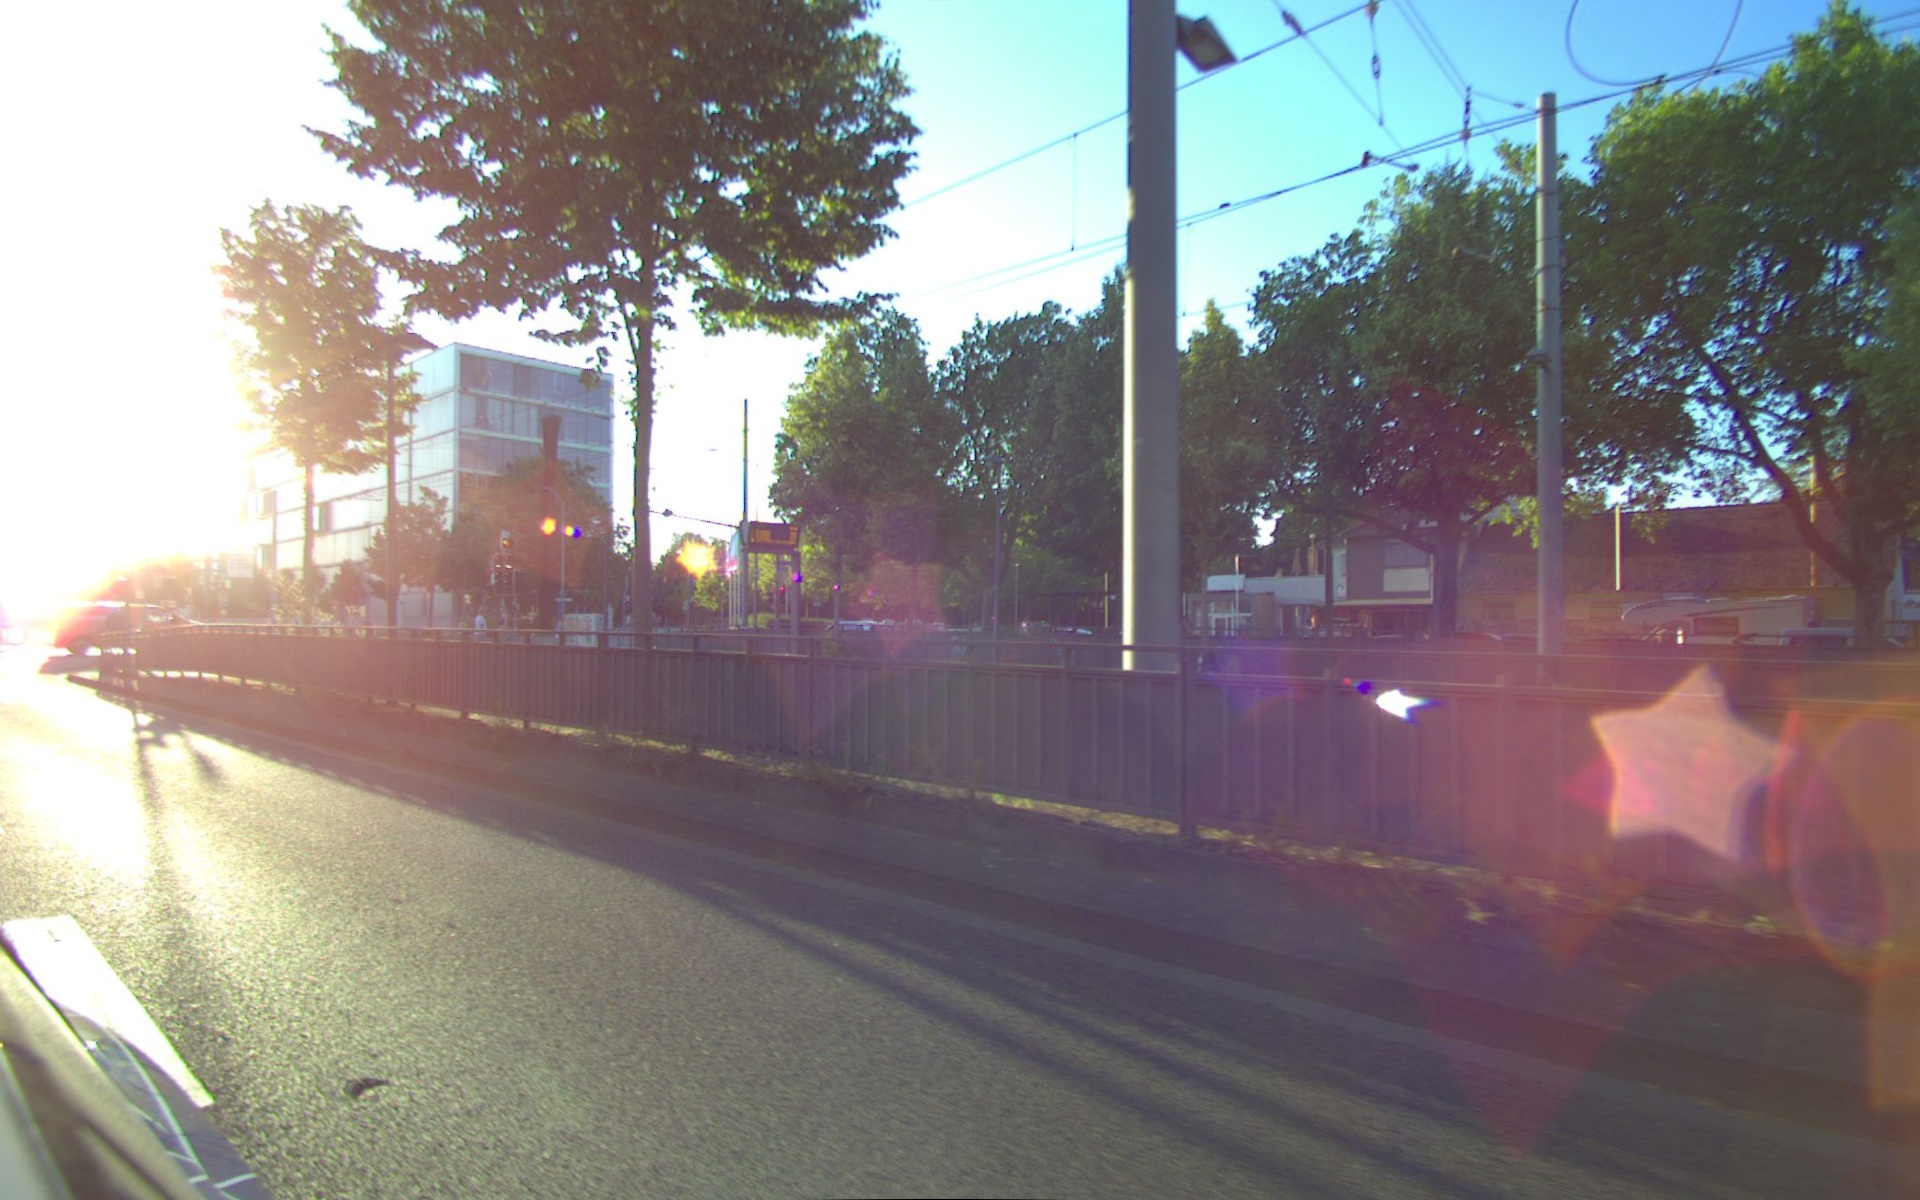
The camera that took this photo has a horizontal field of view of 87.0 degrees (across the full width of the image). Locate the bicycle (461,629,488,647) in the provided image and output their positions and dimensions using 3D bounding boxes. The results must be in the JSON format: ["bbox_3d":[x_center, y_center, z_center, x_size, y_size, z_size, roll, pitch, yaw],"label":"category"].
[{"bbox_3d":[-29.181,2.271,60.853,0.646,1.012,1.788,-2,-1,5],"label":"bicycle"}]

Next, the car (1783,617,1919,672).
[{"bbox_3d":[26.545,1.262,29.271,1.970,1.542,4.003,1,-2,-44],"label":"car"}]

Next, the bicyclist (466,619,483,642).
[{"bbox_3d":[-29.198,1.822,60.834,0.646,1.327,0.640,-2,-1,5],"label":"bicyclist"}]

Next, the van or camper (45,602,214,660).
[{"bbox_3d":[-31.994,1.151,39.118,2.000,2.029,4.820,-2,0,42],"label":"van or camper"}]

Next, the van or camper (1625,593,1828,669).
[{"bbox_3d":[28.204,1.119,37.400,2.363,2.583,5.639,1,-2,-43],"label":"van or camper"}]
